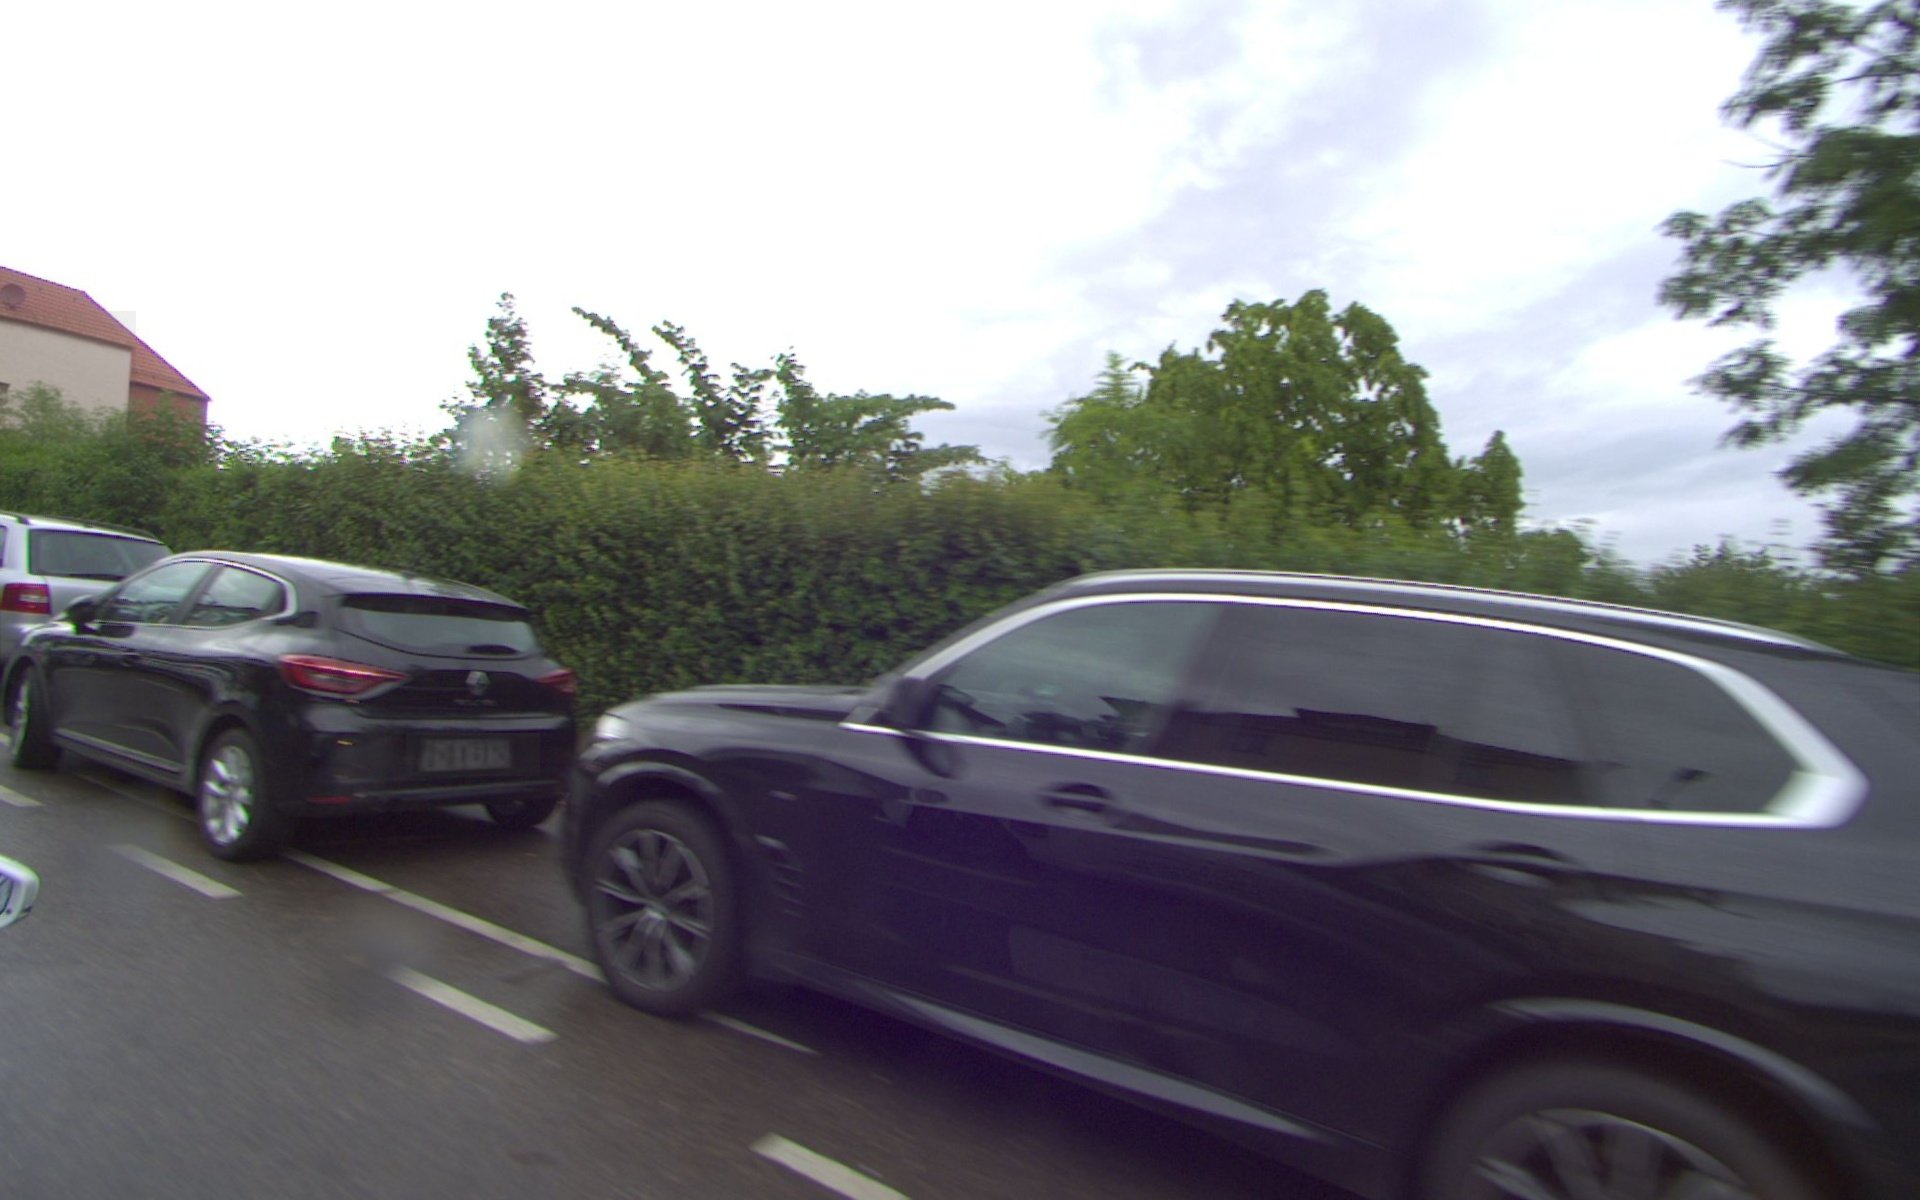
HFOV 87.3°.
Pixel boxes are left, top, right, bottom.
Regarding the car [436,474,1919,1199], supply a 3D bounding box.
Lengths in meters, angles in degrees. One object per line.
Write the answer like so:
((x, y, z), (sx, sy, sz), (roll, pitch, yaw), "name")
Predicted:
((0.601, 0.737, 3.654), (4.816, 1.803, 2.032), (7, -2, 30), "car")

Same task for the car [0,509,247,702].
((-9.170, -0.136, 9.145), (4.554, 1.456, 1.808), (7, -3, 16), "car")

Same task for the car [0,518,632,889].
((-4.061, 0.445, 6.003), (3.916, 1.438, 1.693), (5, -3, 30), "car")
